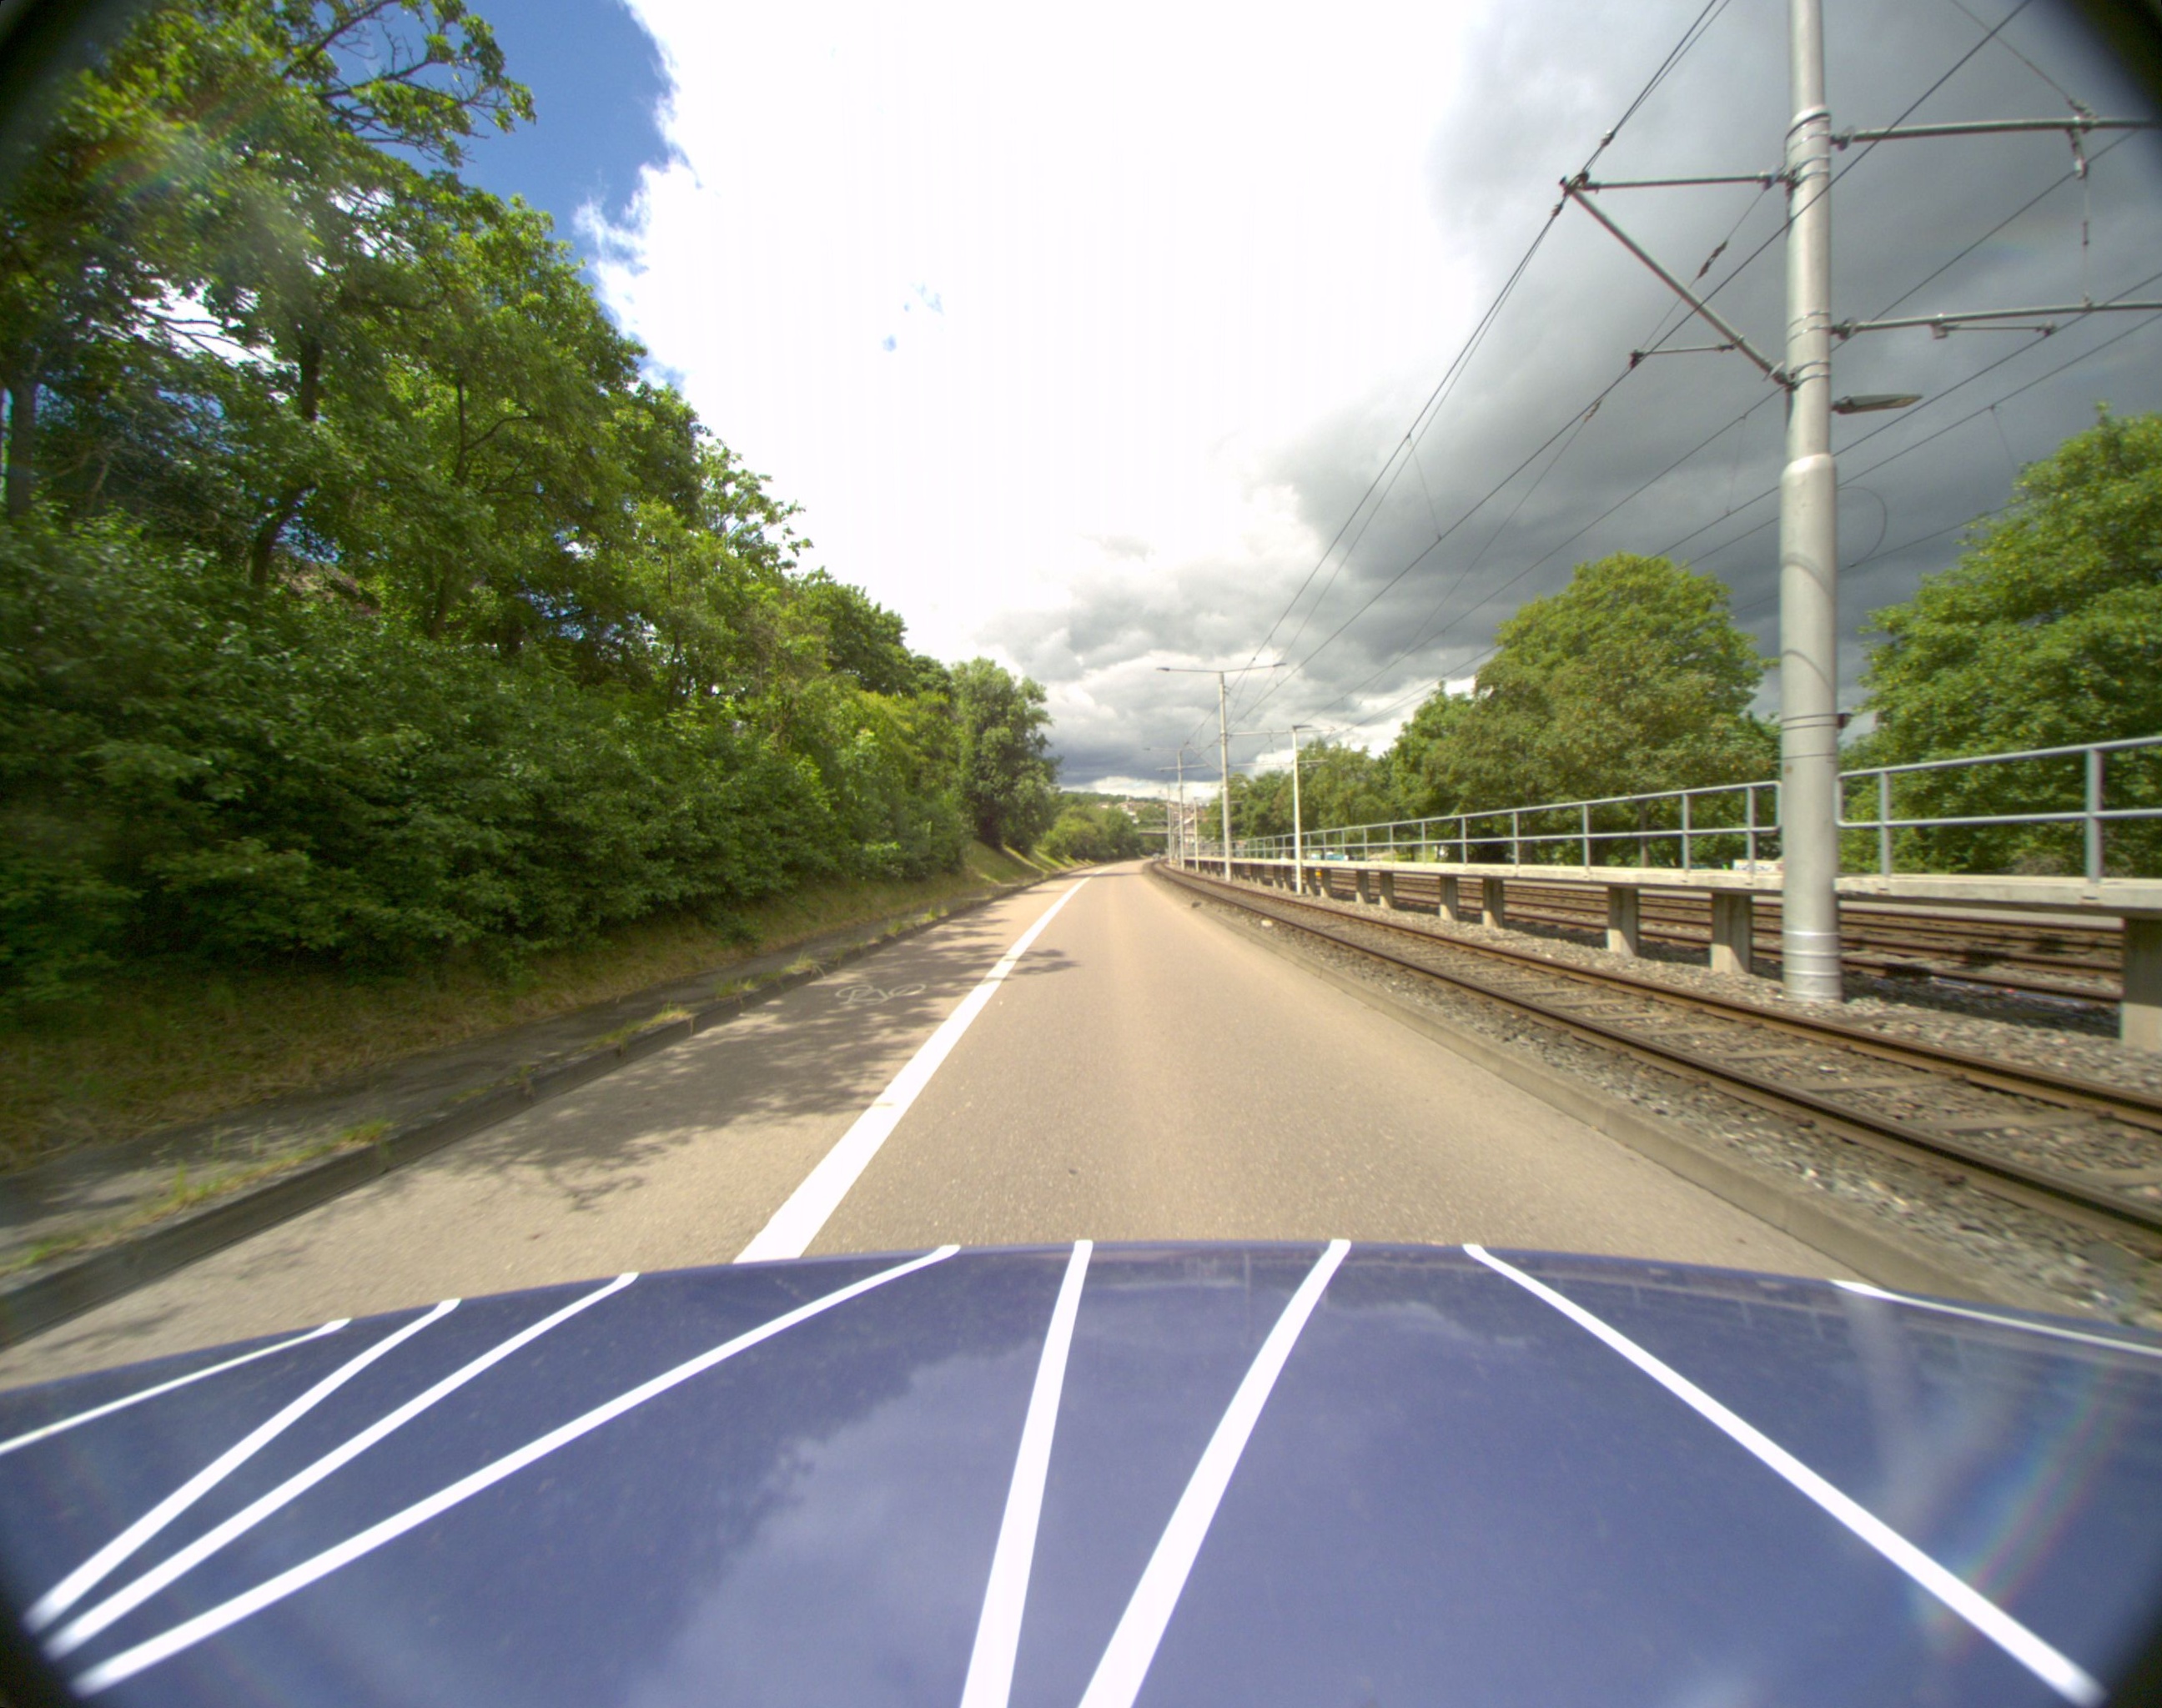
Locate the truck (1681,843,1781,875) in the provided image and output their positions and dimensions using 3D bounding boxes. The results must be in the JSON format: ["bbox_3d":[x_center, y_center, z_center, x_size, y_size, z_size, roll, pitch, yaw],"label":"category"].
[{"bbox_3d":[59.526,0.418,69.733,6.616,2.839,2.680,0,0,6],"label":"truck"}]
